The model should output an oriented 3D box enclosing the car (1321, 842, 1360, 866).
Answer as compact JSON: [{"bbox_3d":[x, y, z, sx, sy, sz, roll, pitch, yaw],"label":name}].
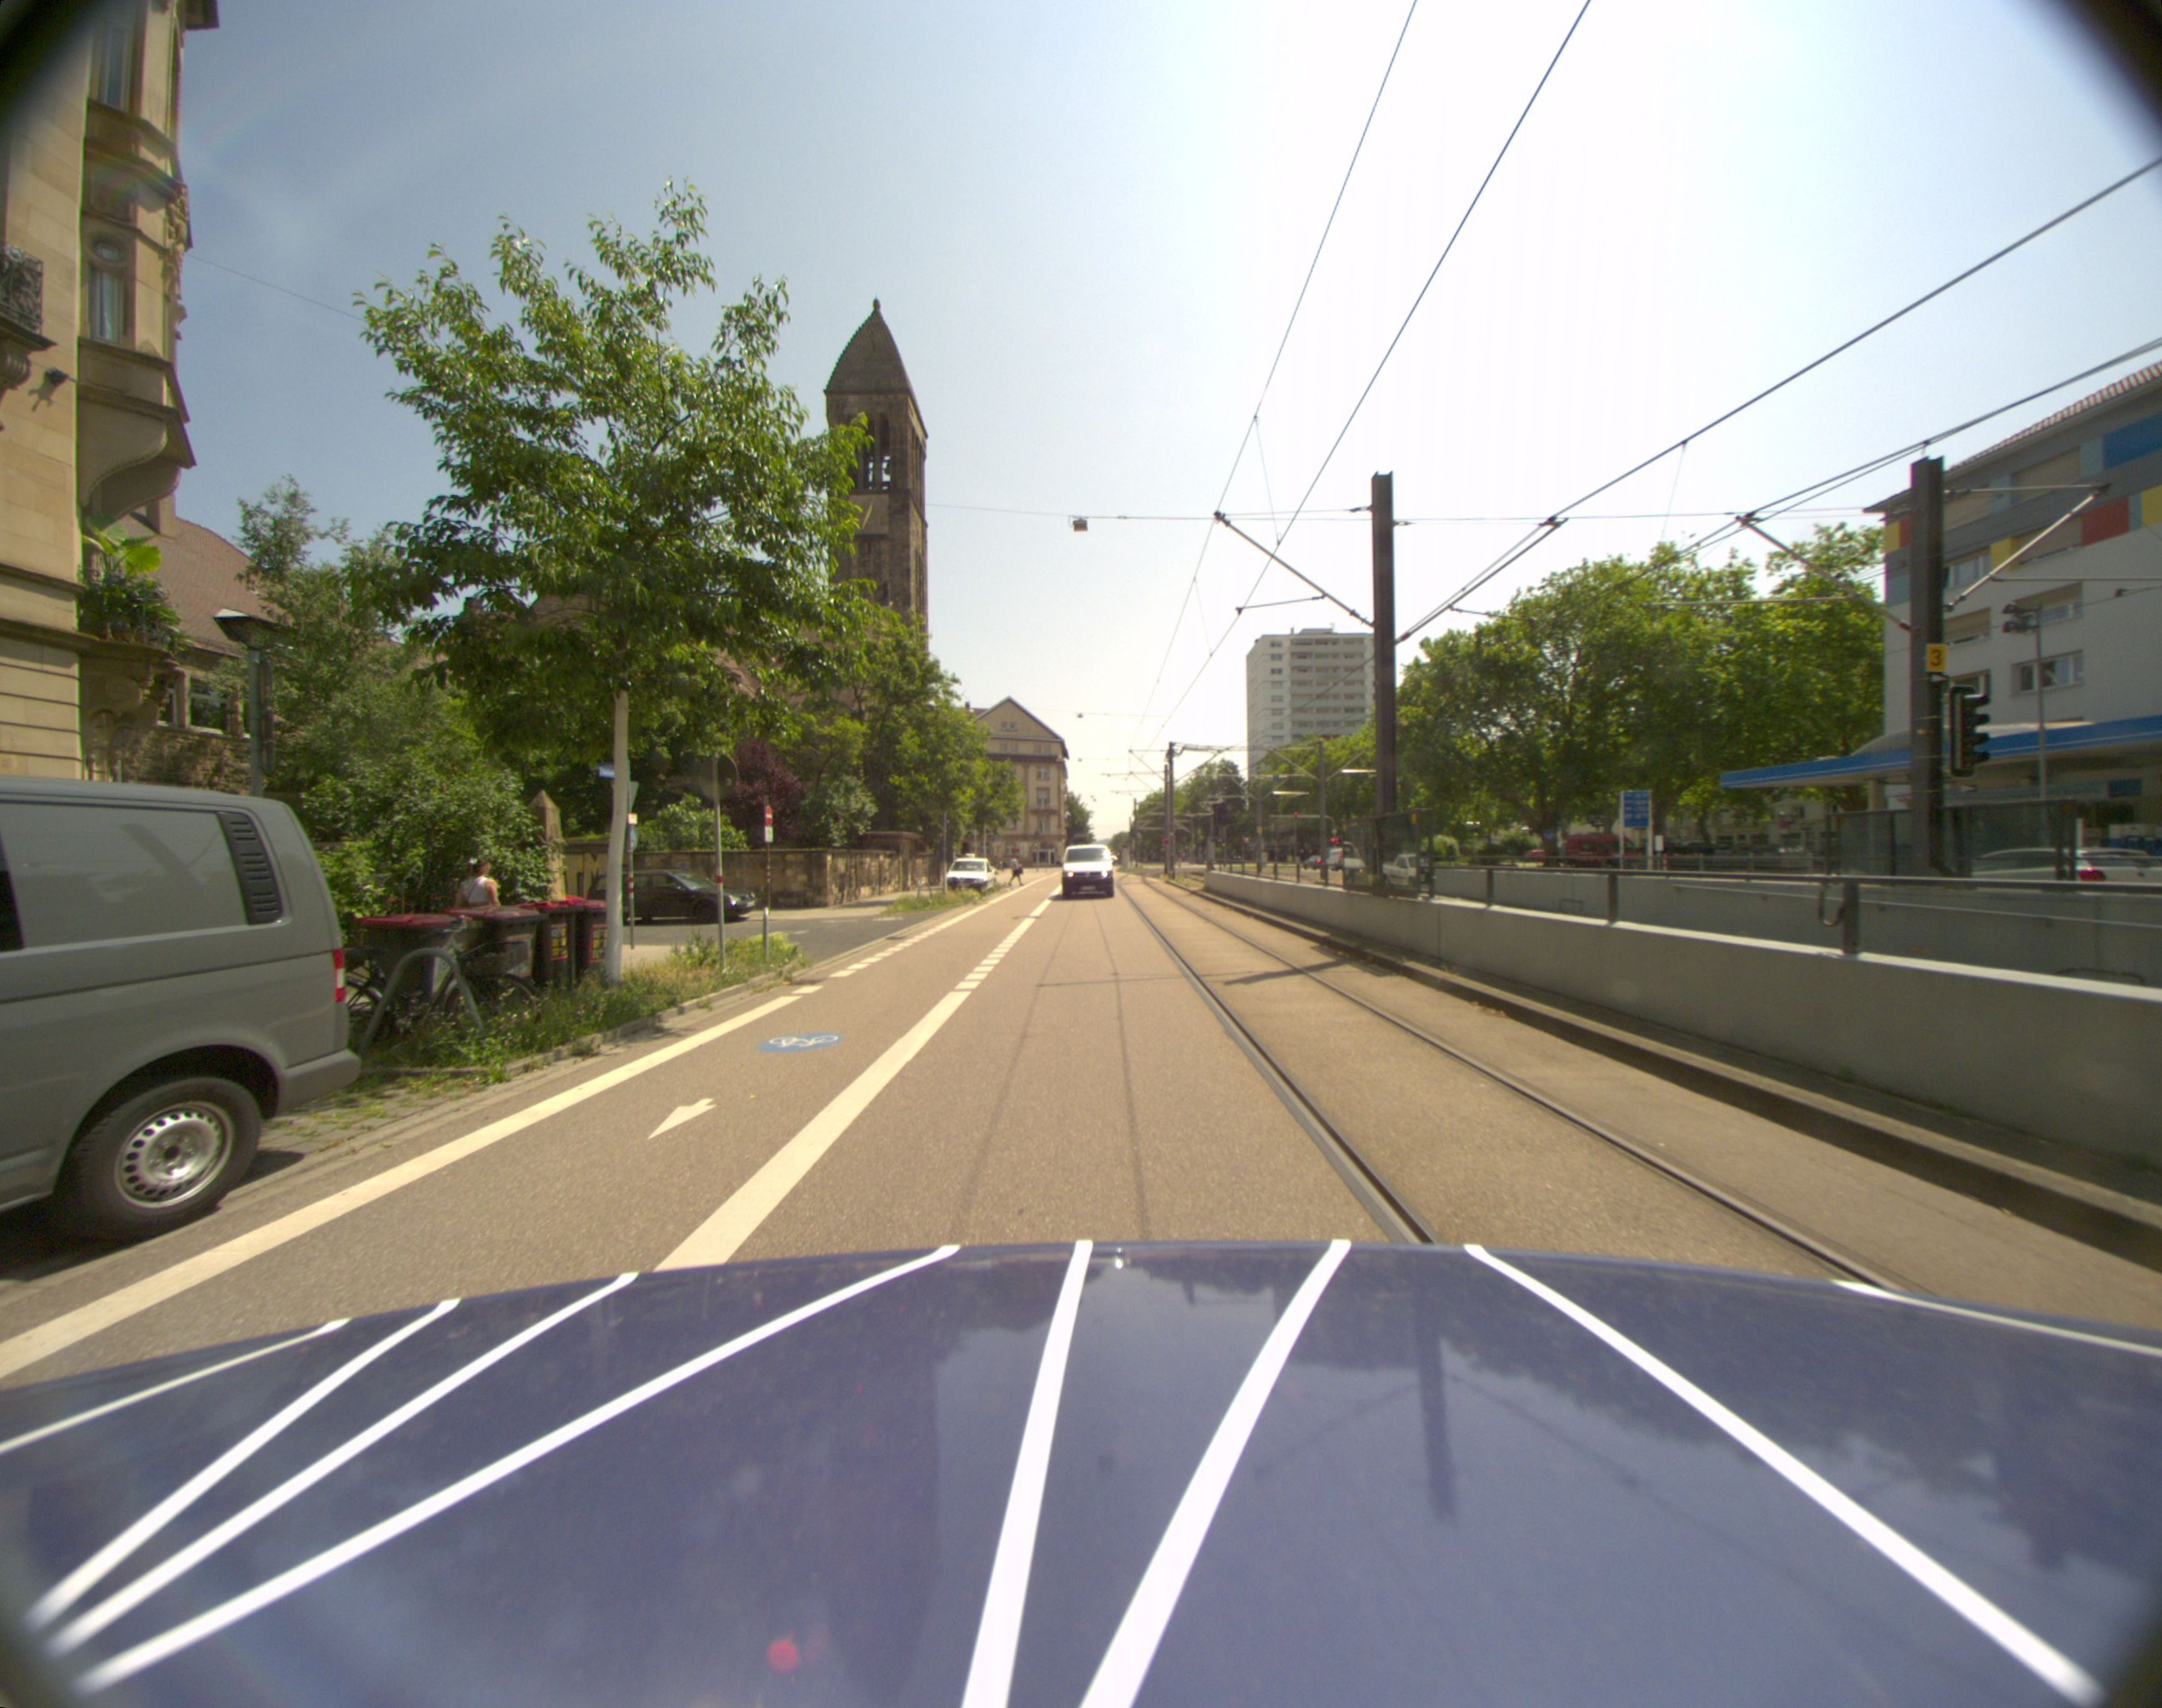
[{"bbox_3d":[22.624,0.014,66.443,1.781,1.979,4.804,-1,0,0],"label":"car"}]

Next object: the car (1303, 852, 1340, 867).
[{"bbox_3d":[22.829,0.513,72.313,1.952,1.351,4.628,-1,0,0],"label":"car"}]

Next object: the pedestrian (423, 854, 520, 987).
[{"bbox_3d":[-7.607,0.809,9.511,0.553,1.589,0.728,-2,1,3],"label":"pedestrian"}]

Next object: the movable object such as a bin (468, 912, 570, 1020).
[{"bbox_3d":[-5.918,1.168,8.021,0.670,1.056,0.496,-2,1,7],"label":"movable object such as a bin"}]

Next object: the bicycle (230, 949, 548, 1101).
[{"bbox_3d":[-5.380,1.314,5.995,1.887,0.986,0.470,-2,1,-9],"label":"bicycle"}]

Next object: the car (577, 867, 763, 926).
[{"bbox_3d":[-11.252,1.140,21.022,4.192,1.482,1.673,-1,1,-1],"label":"car"}]

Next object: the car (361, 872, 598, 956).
[{"bbox_3d":[-11.774,1.142,15.006,3.459,1.482,1.555,-1,1,3],"label":"car"}]

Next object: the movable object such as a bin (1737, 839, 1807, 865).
[{"bbox_3d":[44.797,-0.120,49.311,2.723,1.601,1.986,-1,0,1],"label":"movable object such as a bin"}]

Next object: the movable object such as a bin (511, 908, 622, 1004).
[{"bbox_3d":[-5.898,1.162,8.741,0.789,1.008,0.650,-2,1,7],"label":"movable object such as a bin"}]

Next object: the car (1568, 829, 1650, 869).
[{"bbox_3d":[34.680,-0.360,50.073,1.851,2.379,4.980,-3,1,0],"label":"car"}]

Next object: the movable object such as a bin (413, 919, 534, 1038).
[{"bbox_3d":[-5.836,1.182,7.321,0.748,1.056,0.496,-2,1,7],"label":"movable object such as a bin"}]

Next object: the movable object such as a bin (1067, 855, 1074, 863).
[{"bbox_3d":[-1.829,0.825,135.287,1.214,1.428,1.008,-2,1,-3],"label":"movable object such as a bin"}]

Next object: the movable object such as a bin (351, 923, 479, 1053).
[{"bbox_3d":[-5.777,1.139,6.624,0.597,1.005,0.565,-2,1,-9],"label":"movable object such as a bin"}]

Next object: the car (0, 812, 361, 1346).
[{"bbox_3d":[-4.877,0.814,1.688,1.883,1.936,4.836,0,0,1],"label":"car"}]

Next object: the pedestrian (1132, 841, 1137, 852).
[{"bbox_3d":[8.667,-1.183,123.443,0.679,1.695,0.554,-2,1,3],"label":"pedestrian"}]

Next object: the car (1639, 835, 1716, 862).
[{"bbox_3d":[39.735,-0.346,50.738,1.998,1.710,4.000,-1,0,1],"label":"car"}]

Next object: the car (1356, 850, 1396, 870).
[{"bbox_3d":[22.778,0.443,58.763,1.600,1.412,3.782,1,0,1],"label":"car"}]

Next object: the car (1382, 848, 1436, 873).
[{"bbox_3d":[22.452,0.411,52.157,1.851,1.616,4.602,0,0,2],"label":"car"}]

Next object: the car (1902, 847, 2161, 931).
[{"bbox_3d":[20.230,0.659,16.209,1.547,1.552,3.880,-2,0,7],"label":"car"}]

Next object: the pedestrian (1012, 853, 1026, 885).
[{"bbox_3d":[-3.370,0.819,41.432,0.622,1.744,0.678,-2,1,3],"label":"pedestrian"}]

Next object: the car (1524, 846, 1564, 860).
[{"bbox_3d":[49.708,-0.136,81.625,3.342,1.376,1.472,-2,0,0],"label":"car"}]

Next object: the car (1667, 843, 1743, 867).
[{"bbox_3d":[41.955,0.096,51.188,1.867,1.517,4.000,-1,0,1],"label":"car"}]

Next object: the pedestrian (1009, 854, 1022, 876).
[{"bbox_3d":[-4.999,0.835,57.983,0.795,1.641,0.967,-2,1,3],"label":"pedestrian"}]

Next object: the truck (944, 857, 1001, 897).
[{"bbox_3d":[-4.599,0.929,32.767,1.794,1.517,4.465,-1,0,0],"label":"truck"}]

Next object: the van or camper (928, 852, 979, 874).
[{"bbox_3d":[-10.887,0.771,64.988,3.997,1.814,1.803,1,-2,0],"label":"van or camper"}]

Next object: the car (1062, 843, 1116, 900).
[{"bbox_3d":[0.378,0.594,28.860,1.852,1.942,4.944,-1,0,3],"label":"car"}]
